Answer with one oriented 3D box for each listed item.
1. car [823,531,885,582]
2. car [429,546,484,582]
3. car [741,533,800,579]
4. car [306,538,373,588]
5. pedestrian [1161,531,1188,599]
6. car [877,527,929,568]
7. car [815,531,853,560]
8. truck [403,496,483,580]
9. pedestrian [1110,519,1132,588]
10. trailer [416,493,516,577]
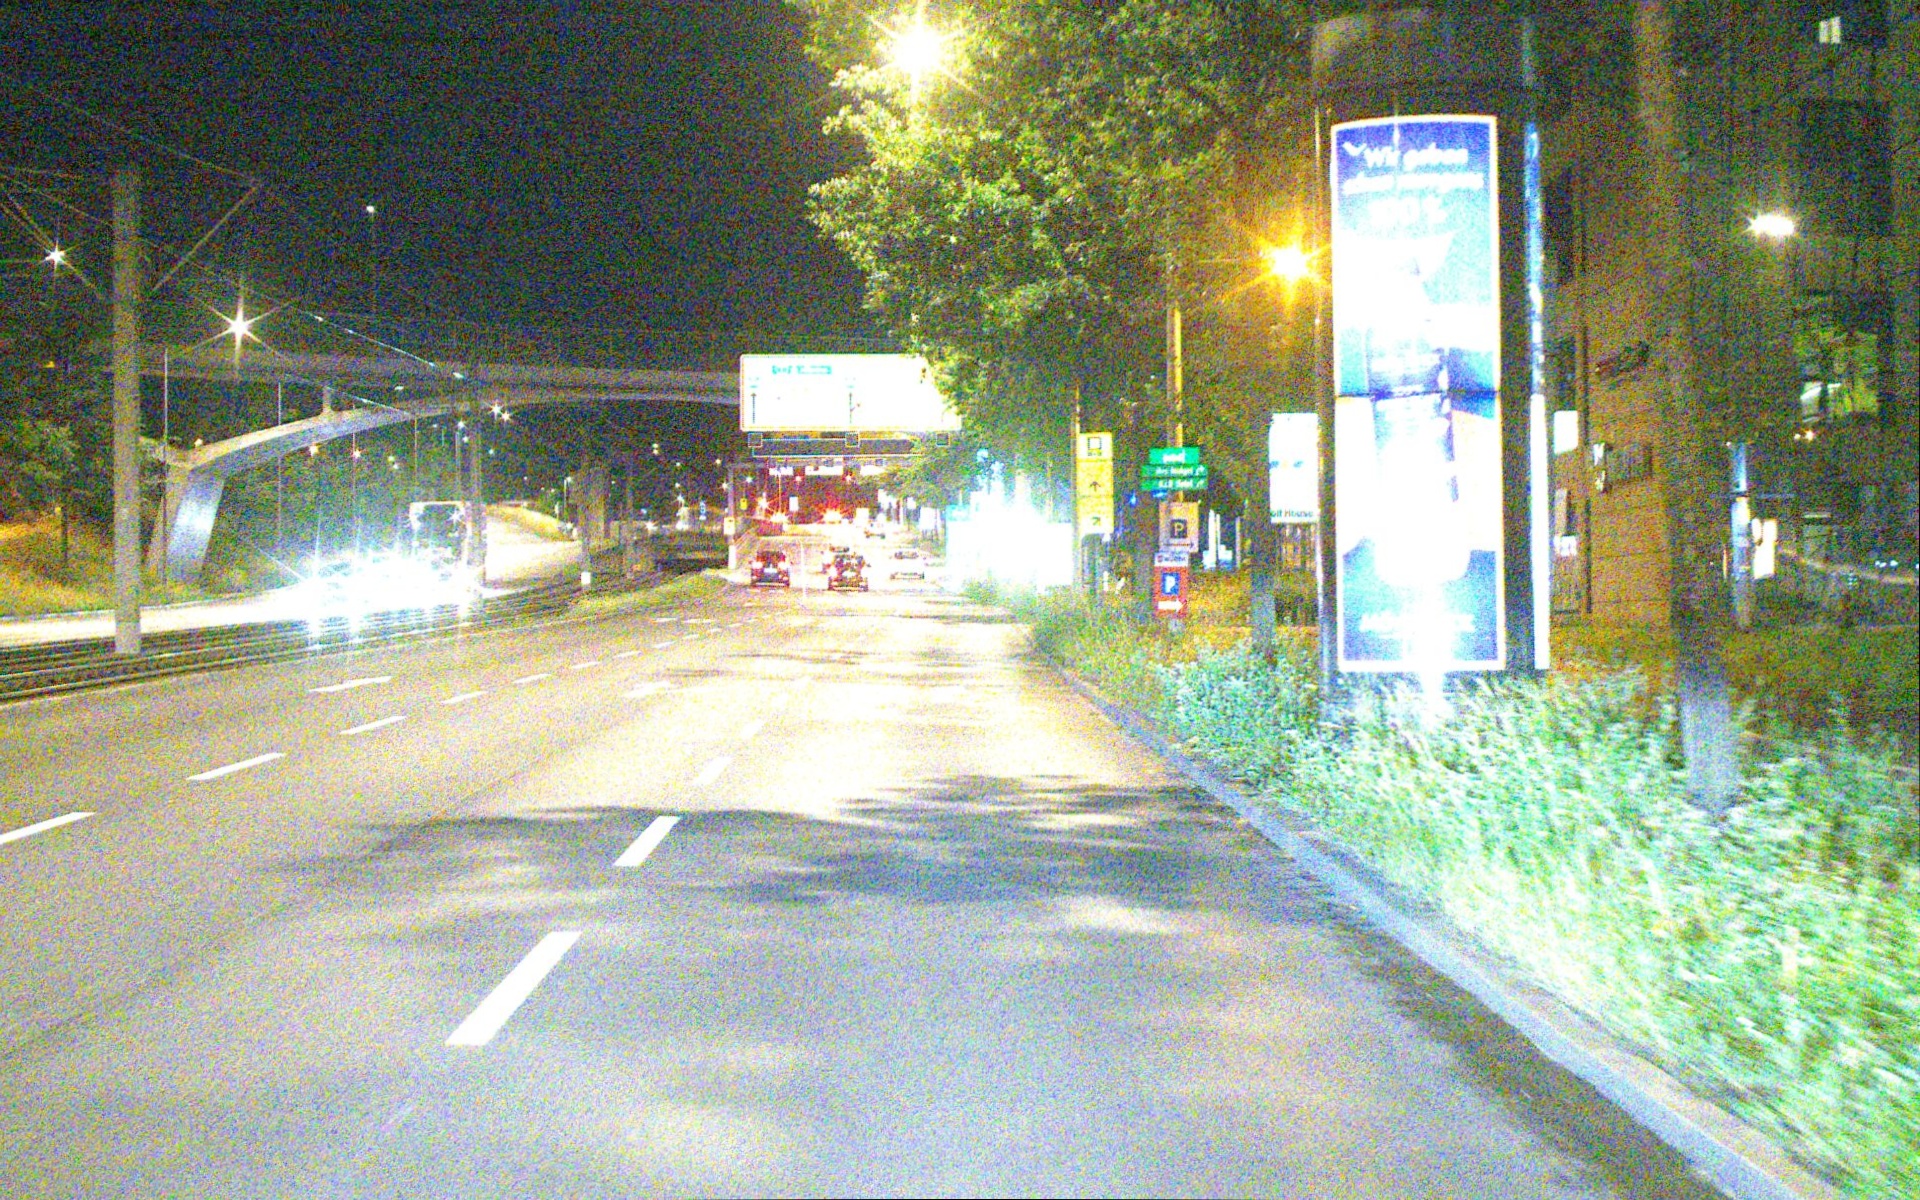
[{"bbox_3d":[-4.648,-1.936,151.288,2.356,2.121,4.826,0,2,2],"label":"car"},{"bbox_3d":[-21.643,-1.541,147.778,1.910,1.468,3.772,0,2,-1],"label":"car"},{"bbox_3d":[-8.664,-2.012,157.303,2.263,2.006,4.826,0,2,2],"label":"car"},{"bbox_3d":[-22.543,-1.360,125.049,1.863,1.744,3.702,0,2,-1],"label":"car"},{"bbox_3d":[6.531,-1.067,104.534,0.762,2.056,0.643,0,1,0],"label":"pedestrian"},{"bbox_3d":[-2.993,-2.776,181.162,2.427,2.106,4.826,0,2,2],"label":"car"},{"bbox_3d":[-6.982,-3.021,190.704,1.993,1.548,4.000,0,1,-1],"label":"car"},{"bbox_3d":[-24.083,-2.915,160.298,3.041,3.806,4.935,0,2,0],"label":"truck"},{"bbox_3d":[5.736,-1.667,122.310,0.745,2.426,0.779,1,1,2],"label":"pedestrian"},{"bbox_3d":[-24.226,-3.268,169.301,2.994,3.986,13.956,0,2,0],"label":"trailer"}]
